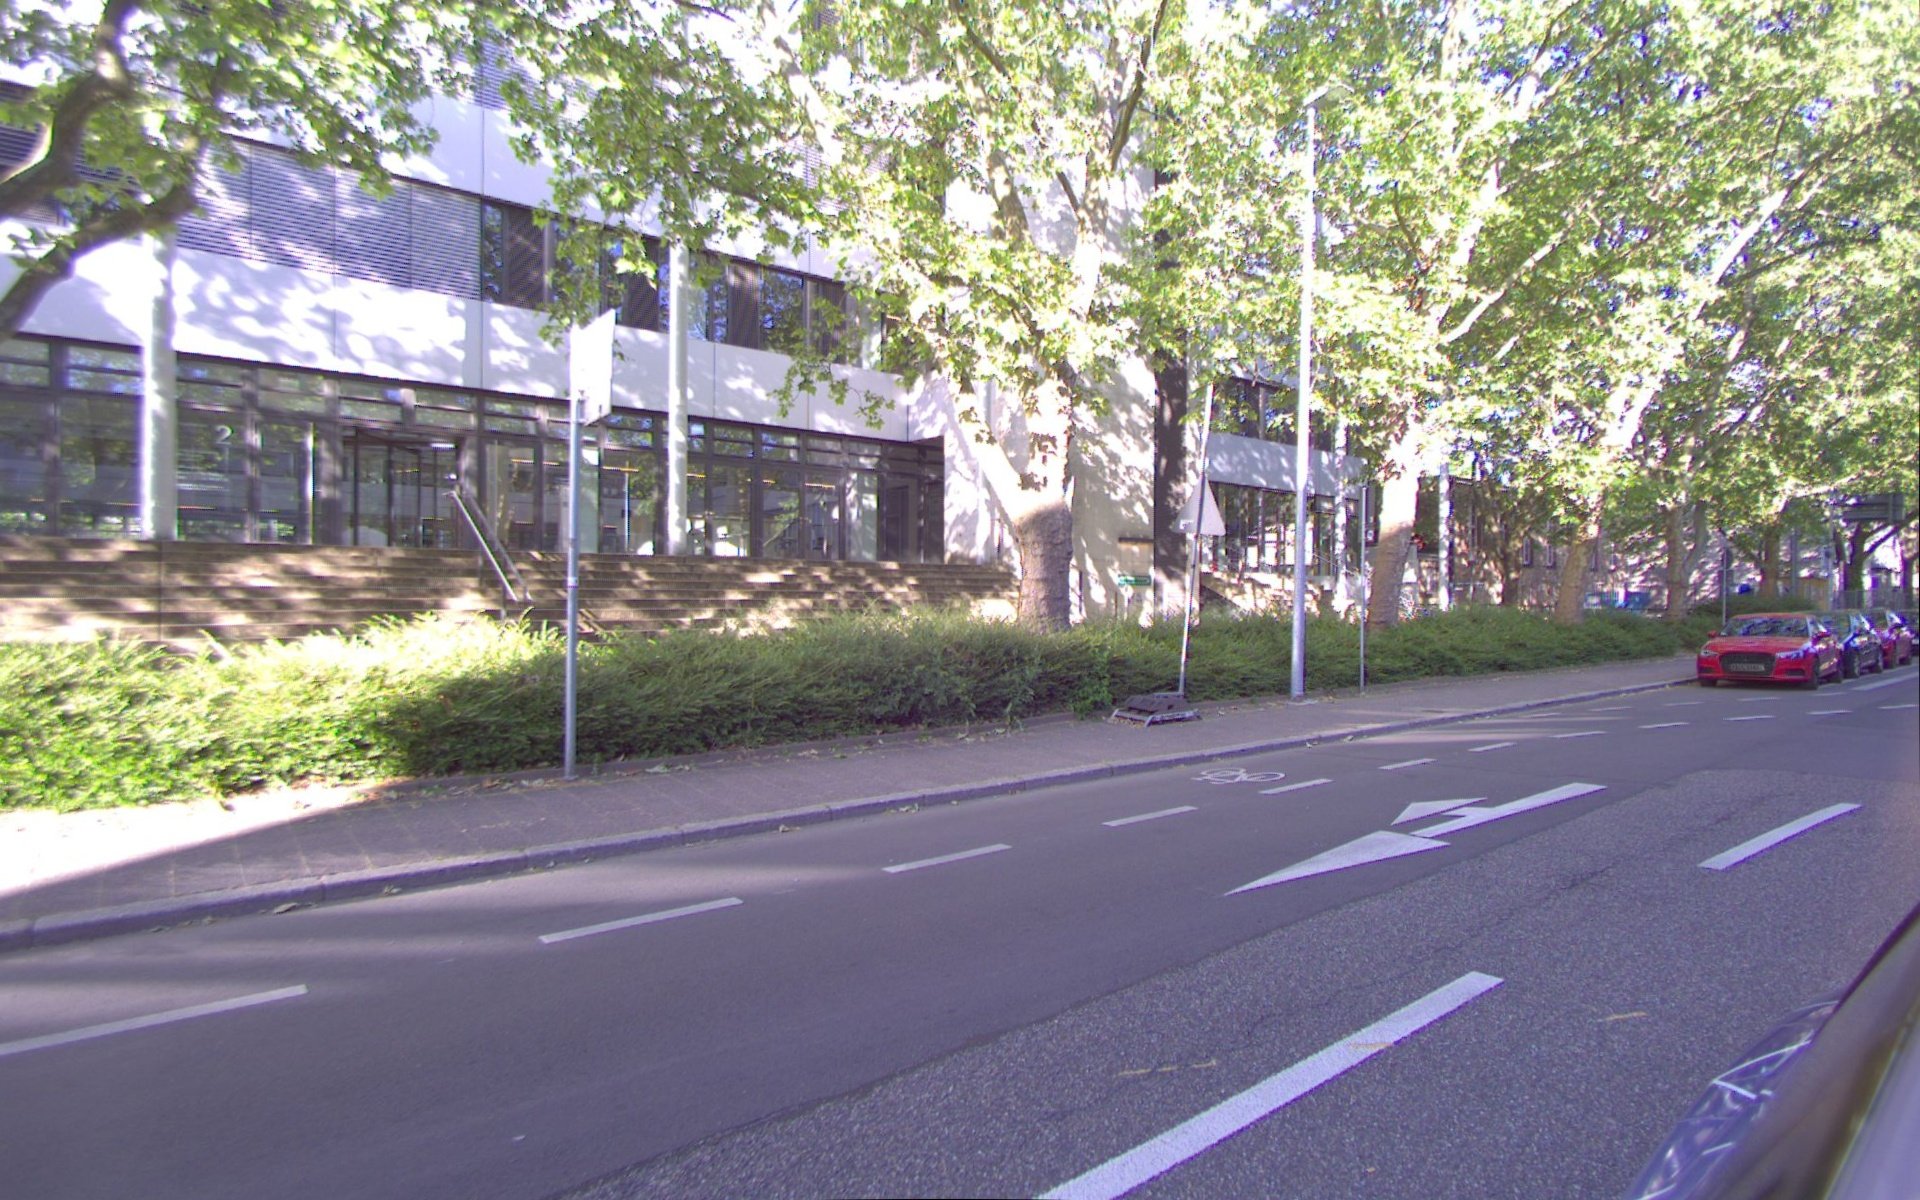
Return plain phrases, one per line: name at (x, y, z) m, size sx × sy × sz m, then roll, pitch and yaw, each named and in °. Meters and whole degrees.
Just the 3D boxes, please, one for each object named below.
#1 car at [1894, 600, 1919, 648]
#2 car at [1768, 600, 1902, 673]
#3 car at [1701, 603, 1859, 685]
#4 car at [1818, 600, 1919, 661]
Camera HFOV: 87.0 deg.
car at (31.177, 0.735, 32.190) m, size 3.929 × 1.469 × 1.685 m, roll 0°, pitch 0°, yaw -40°
car at (19.797, 0.766, 22.854) m, size 3.929 × 1.486 × 1.685 m, roll 0°, pitch -1°, yaw -40°
car at (16.176, 0.811, 19.896) m, size 3.960 × 1.439 × 1.722 m, roll 0°, pitch -2°, yaw -41°
car at (23.660, 0.744, 26.174) m, size 3.714 × 1.452 × 1.665 m, roll 0°, pitch 0°, yaw -40°
